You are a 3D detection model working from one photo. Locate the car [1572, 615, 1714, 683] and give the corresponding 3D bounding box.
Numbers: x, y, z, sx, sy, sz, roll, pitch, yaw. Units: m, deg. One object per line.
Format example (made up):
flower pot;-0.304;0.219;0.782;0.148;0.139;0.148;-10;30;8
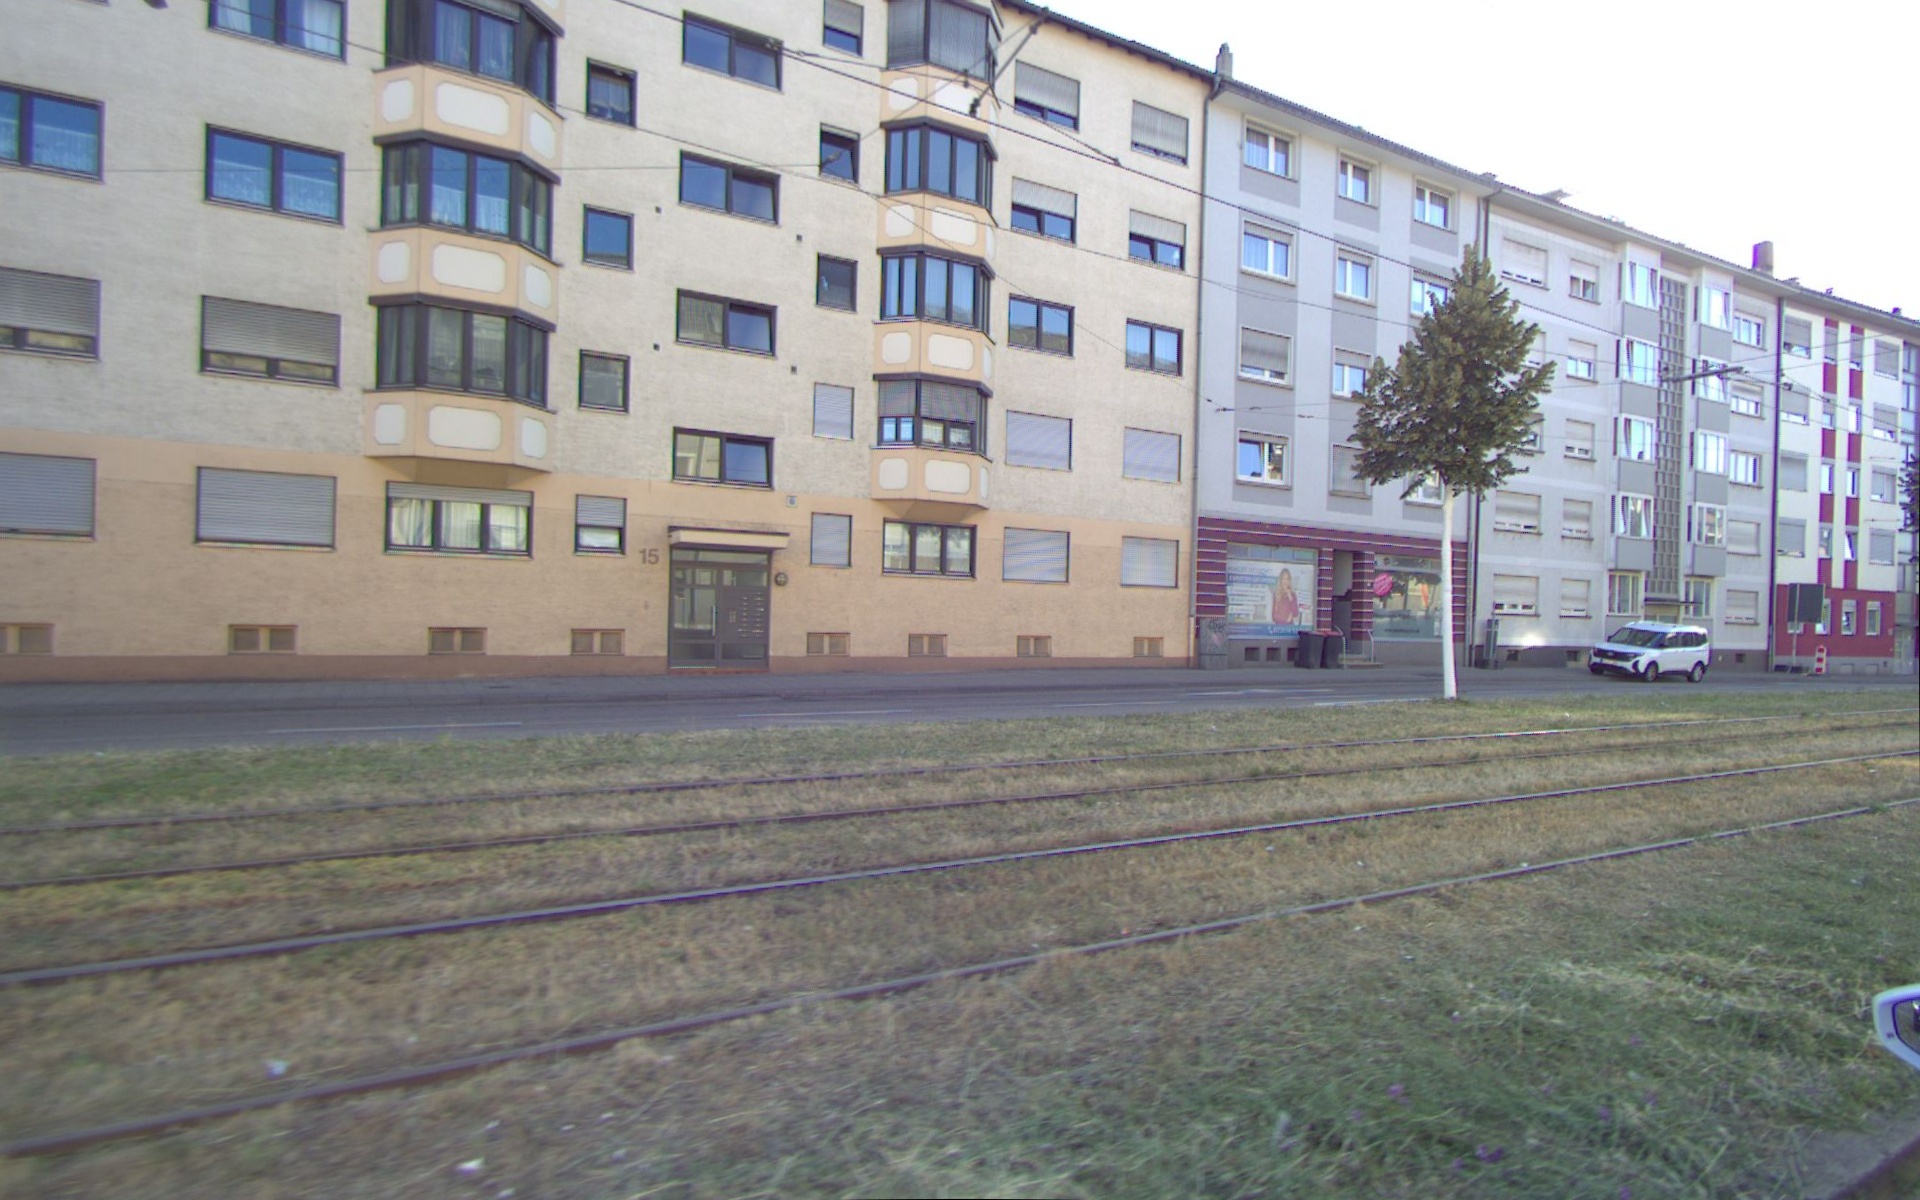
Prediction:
car;22.445;1.623;32.992;4.366;1.854;1.859;2;6;-28
